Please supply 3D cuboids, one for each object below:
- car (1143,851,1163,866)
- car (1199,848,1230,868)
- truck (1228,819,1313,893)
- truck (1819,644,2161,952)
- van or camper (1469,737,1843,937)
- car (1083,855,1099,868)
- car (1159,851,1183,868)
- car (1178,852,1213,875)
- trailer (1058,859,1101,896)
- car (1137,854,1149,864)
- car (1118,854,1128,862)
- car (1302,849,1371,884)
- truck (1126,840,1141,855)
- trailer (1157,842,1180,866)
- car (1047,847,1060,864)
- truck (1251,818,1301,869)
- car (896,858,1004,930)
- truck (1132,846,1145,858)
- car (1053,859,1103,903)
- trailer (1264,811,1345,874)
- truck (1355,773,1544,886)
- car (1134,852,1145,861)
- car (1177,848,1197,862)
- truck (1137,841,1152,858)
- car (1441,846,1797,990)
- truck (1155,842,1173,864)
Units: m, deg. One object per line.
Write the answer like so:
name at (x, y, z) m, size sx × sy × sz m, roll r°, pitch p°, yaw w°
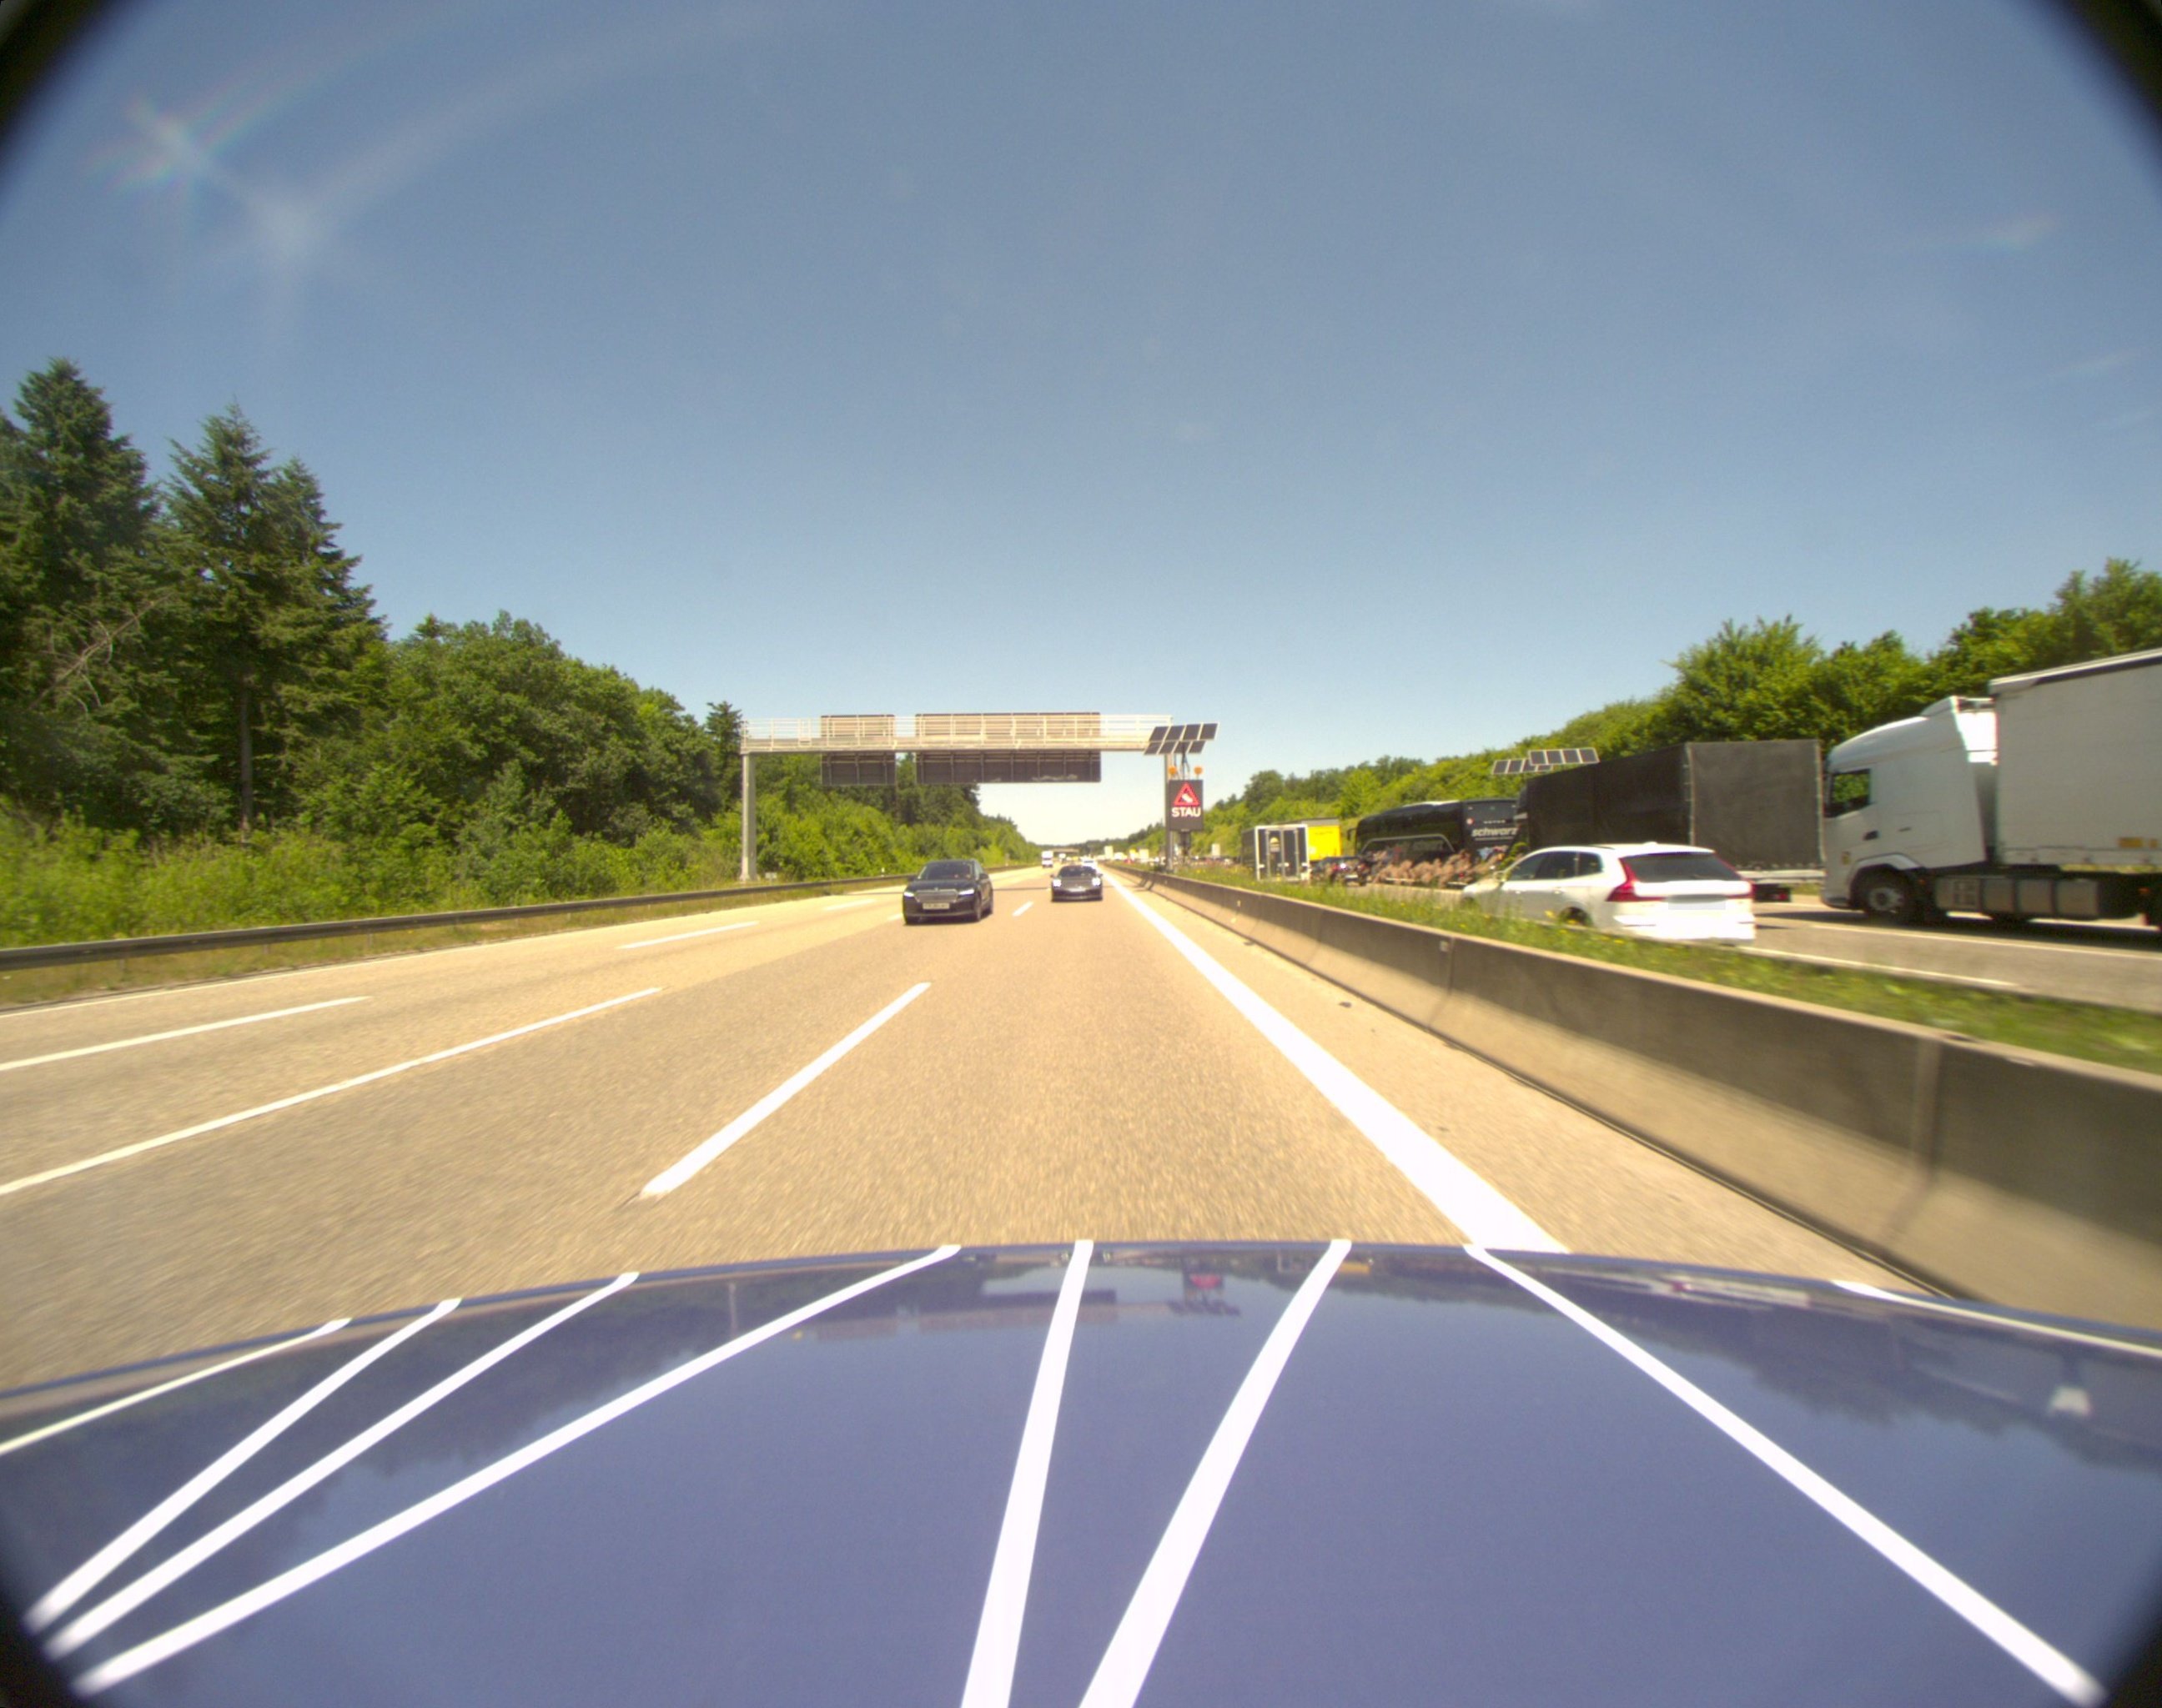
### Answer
car at (8.085, 0.467, 85.888) m, size 1.816 × 1.504 × 4.817 m, roll -2°, pitch 1°, yaw 1°
car at (12.651, 0.326, 72.355) m, size 1.867 × 1.742 × 5.901 m, roll -2°, pitch 1°, yaw 1°
truck at (7.983, 0.054, 32.734) m, size 2.125 × 2.825 × 6.212 m, roll -2°, pitch 1°, yaw 1°
truck at (15.790, -0.773, 11.375) m, size 2.788 × 4.090 × 7.029 m, roll -1°, pitch 1°, yaw 1°
van or camper at (11.913, -0.315, 17.034) m, size 2.535 × 3.340 × 7.943 m, roll -2°, pitch 1°, yaw 2°
car at (1.192, 0.879, 91.792) m, size 1.719 × 1.432 × 4.456 m, roll -1°, pitch 1°, yaw -1°
car at (8.830, 0.484, 74.928) m, size 1.816 × 1.504 × 5.029 m, roll -2°, pitch 1°, yaw 1°
car at (8.354, 0.658, 55.770) m, size 1.816 × 1.504 × 5.029 m, roll -2°, pitch 1°, yaw 1°
trailer at (-0.022, 0.954, 32.038) m, size 1.689 × 1.399 × 3.046 m, roll -2°, pitch 0°, yaw 1°
car at (12.629, 1.015, 154.074) m, size 1.832 × 1.754 × 4.990 m, roll -2°, pitch 1°, yaw -1°
car at (9.301, 0.820, 169.334) m, size 1.832 × 1.754 × 4.990 m, roll -2°, pitch 1°, yaw -1°
car at (12.187, 0.533, 36.496) m, size 1.780 × 1.540 × 4.760 m, roll 0°, pitch 1°, yaw 1°
truck at (16.811, -2.066, 245.422) m, size 3.706 × 4.430 × 16.673 m, roll -2°, pitch 1°, yaw 1°
trailer at (16.040, -0.084, 140.206) m, size 2.850 × 4.237 × 12.785 m, roll -2°, pitch 1°, yaw 1°
car at (-5.695, 0.191, 157.489) m, size 2.303 × 3.317 × 7.621 m, roll -2°, pitch 1°, yaw -1°
truck at (16.536, -0.860, 64.691) m, size 2.608 × 4.041 × 6.132 m, roll -2°, pitch 1°, yaw 1°
car at (-3.369, 0.977, 20.522) m, size 1.989 × 1.609 × 4.457 m, roll -2°, pitch 0°, yaw 1°
truck at (13.551, -0.533, 179.904) m, size 2.575 × 2.828 × 6.752 m, roll -2°, pitch 1°, yaw 0°
car at (-0.059, 0.966, 28.750) m, size 1.718 × 1.432 × 4.457 m, roll -2°, pitch 1°, yaw 1°
trailer at (16.419, -0.833, 56.923) m, size 2.657 × 4.120 × 11.855 m, roll -2°, pitch 1°, yaw 1°
truck at (16.115, -0.983, 34.684) m, size 3.064 × 4.197 × 11.486 m, roll -2°, pitch 1°, yaw 1°
car at (12.540, 0.537, 163.751) m, size 1.832 × 1.754 × 4.990 m, roll -2°, pitch 1°, yaw -1°
car at (13.397, 0.104, 96.119) m, size 1.816 × 1.619 × 5.381 m, roll -2°, pitch 1°, yaw 1°
truck at (17.361, -1.321, 209.480) m, size 3.002 × 4.516 × 13.923 m, roll -2°, pitch 1°, yaw 1°
car at (7.513, 0.726, 11.439) m, size 1.816 × 1.624 × 5.029 m, roll -2°, pitch 1°, yaw 1°
truck at (16.124, -0.193, 147.550) m, size 2.826 × 4.179 × 5.628 m, roll -2°, pitch 1°, yaw 1°
